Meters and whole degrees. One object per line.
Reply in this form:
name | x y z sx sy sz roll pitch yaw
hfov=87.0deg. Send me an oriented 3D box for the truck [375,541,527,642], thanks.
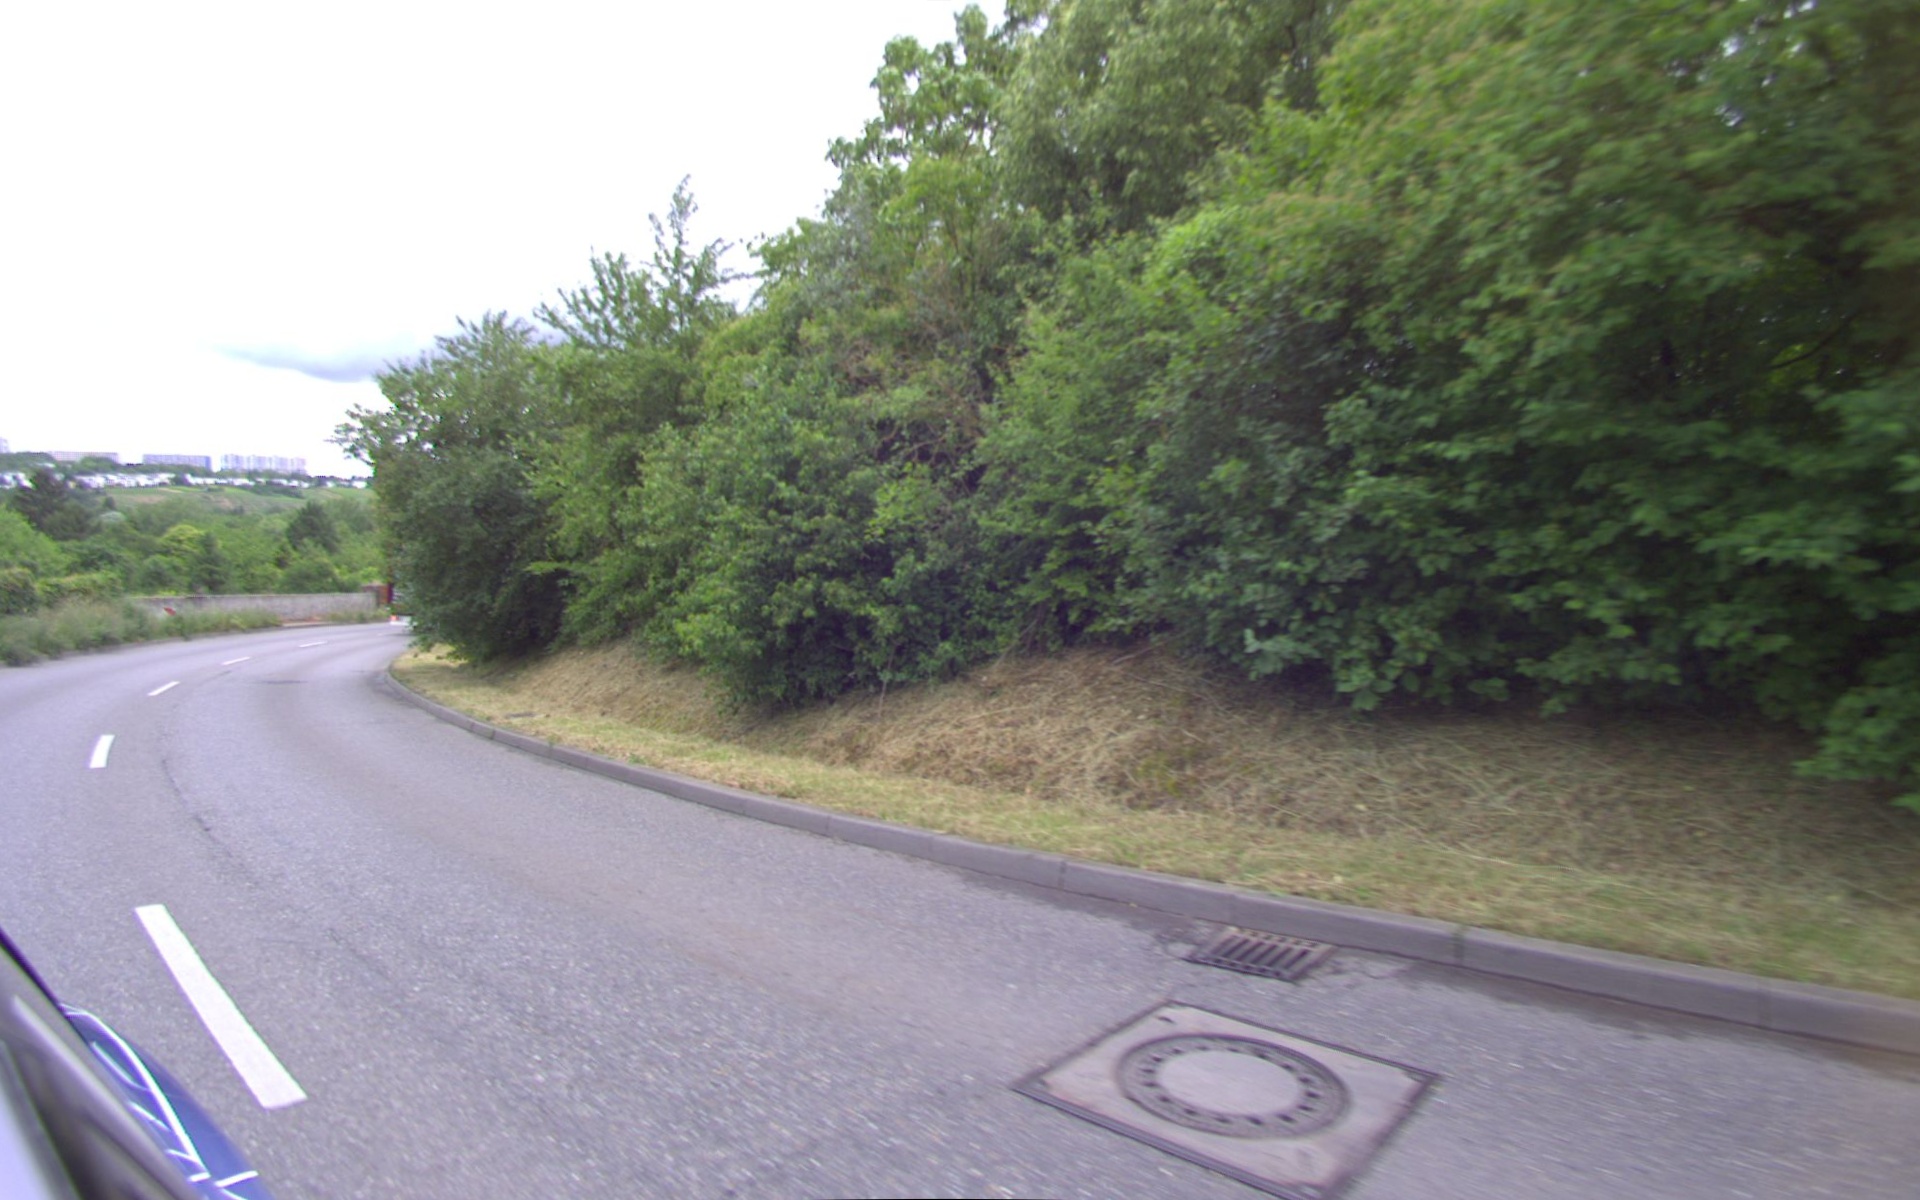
truck | -23.707 -0.389 48.168 2.669 3.980 13.867 3 0 -11
